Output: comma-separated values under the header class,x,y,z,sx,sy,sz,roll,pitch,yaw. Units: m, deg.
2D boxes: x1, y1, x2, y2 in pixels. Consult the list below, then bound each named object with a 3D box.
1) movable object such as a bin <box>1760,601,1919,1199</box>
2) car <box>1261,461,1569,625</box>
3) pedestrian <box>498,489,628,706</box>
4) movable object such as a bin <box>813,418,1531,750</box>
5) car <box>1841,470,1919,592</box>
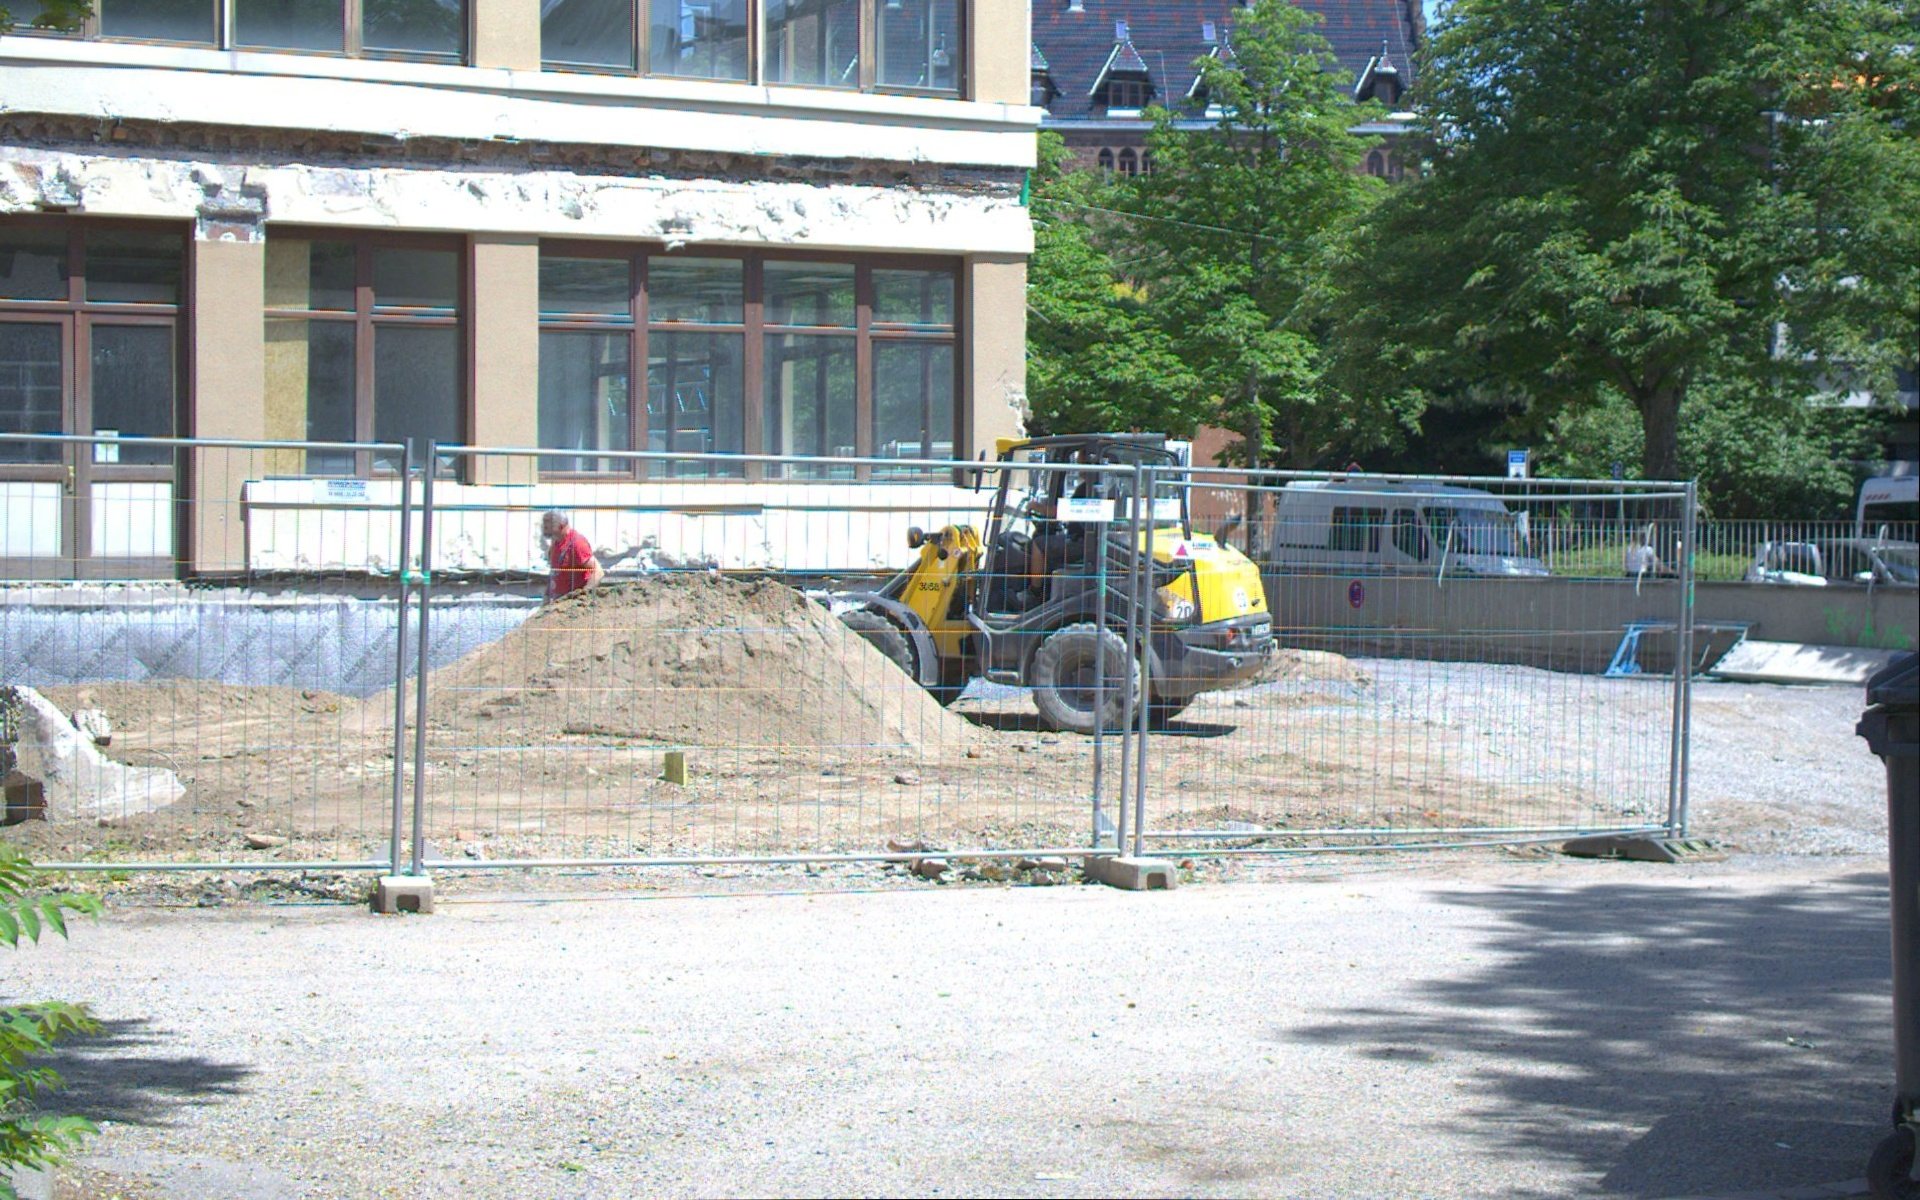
class,x,y,z,sx,sy,sz,roll,pitch,yaw
movable object such as a bin,2.624,0.740,8.269,1.075,1.453,1.377,0,1,0
car,6.998,-0.884,53.532,1.993,2.408,5.244,0,1,-30
pedestrian,-3.433,-0.030,29.792,0.914,1.840,0.986,0,1,7
movable object such as a bin,1.761,-0.191,28.618,5.410,2.455,2.365,2,2,24
car,18.216,-1.298,65.556,2.186,2.250,4.864,0,1,21
